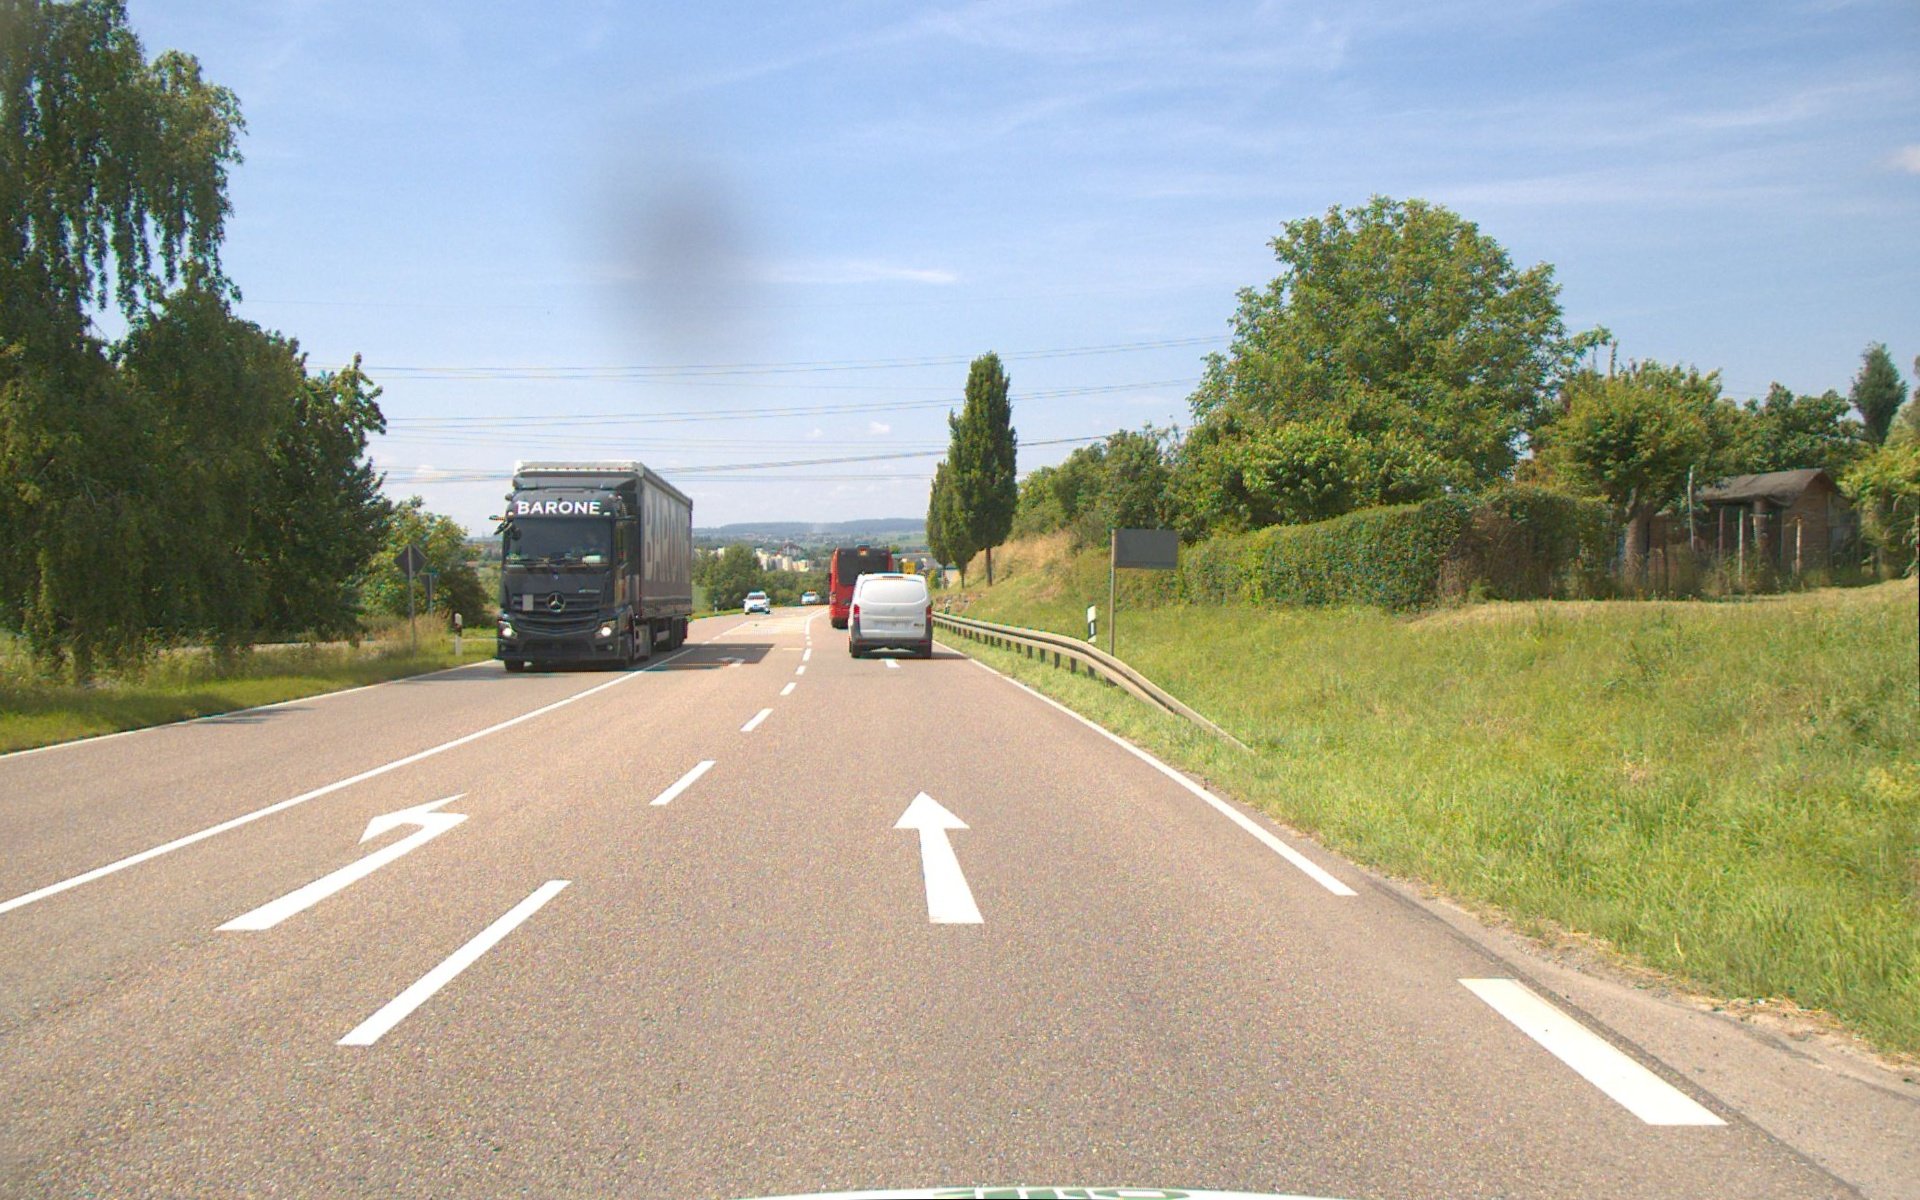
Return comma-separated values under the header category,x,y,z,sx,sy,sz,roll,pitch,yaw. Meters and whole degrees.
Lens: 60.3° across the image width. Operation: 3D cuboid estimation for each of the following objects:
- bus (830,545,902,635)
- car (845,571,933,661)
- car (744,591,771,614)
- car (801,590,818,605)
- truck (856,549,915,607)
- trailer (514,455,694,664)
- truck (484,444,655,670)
category,x,y,z,sx,sy,sz,roll,pitch,yaw
bus,-4.235,-0.614,72.664,2.693,3.411,13.212,-3,2,-4
car,-1.628,0.315,38.604,1.884,1.922,3.999,-2,1,-2
car,-15.223,0.190,124.512,1.817,1.593,4.071,-2,1,-4
car,-17.551,-0.286,192.731,1.731,1.716,3.824,-2,1,-3
truck,-6.122,-1.870,139.197,3.415,4.500,14.909,-1,1,3
trailer,-8.301,-0.876,40.317,2.542,4.215,13.727,-1,0,-5
truck,-7.741,-0.816,33.425,2.534,4.176,5.436,-1,0,-5
